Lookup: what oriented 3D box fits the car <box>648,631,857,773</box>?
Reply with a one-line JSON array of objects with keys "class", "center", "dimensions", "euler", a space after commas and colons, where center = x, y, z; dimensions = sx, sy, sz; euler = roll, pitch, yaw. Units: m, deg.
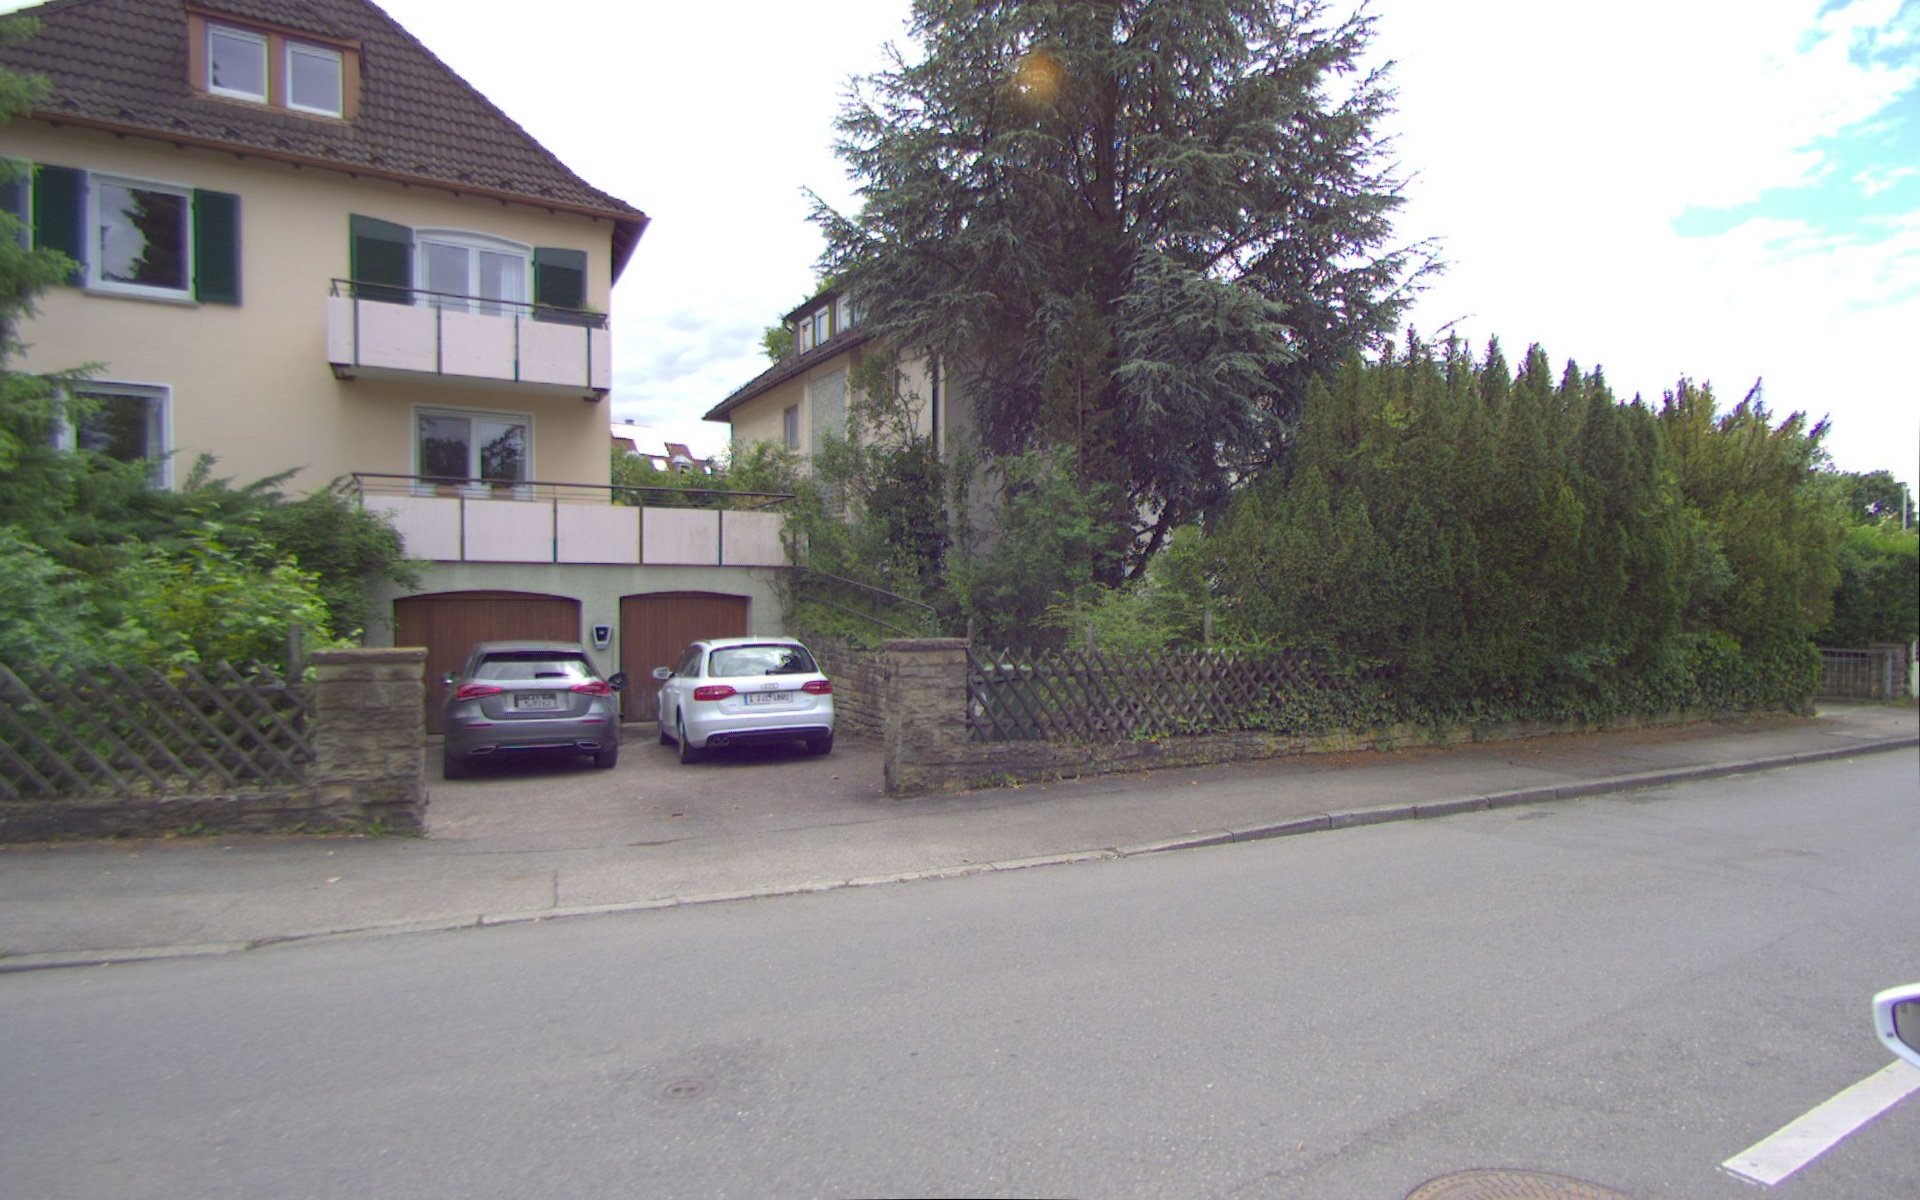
[{"class": "car", "center": [-2.760, 1.166, 12.652], "dimensions": [1.894, 1.438, 3.872], "euler": [0, -2, -22]}]

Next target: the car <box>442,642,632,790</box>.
[{"class": "car", "center": [-5.017, 1.256, 12.033], "dimensions": [1.803, 1.438, 3.546], "euler": [0, -2, -22]}]
